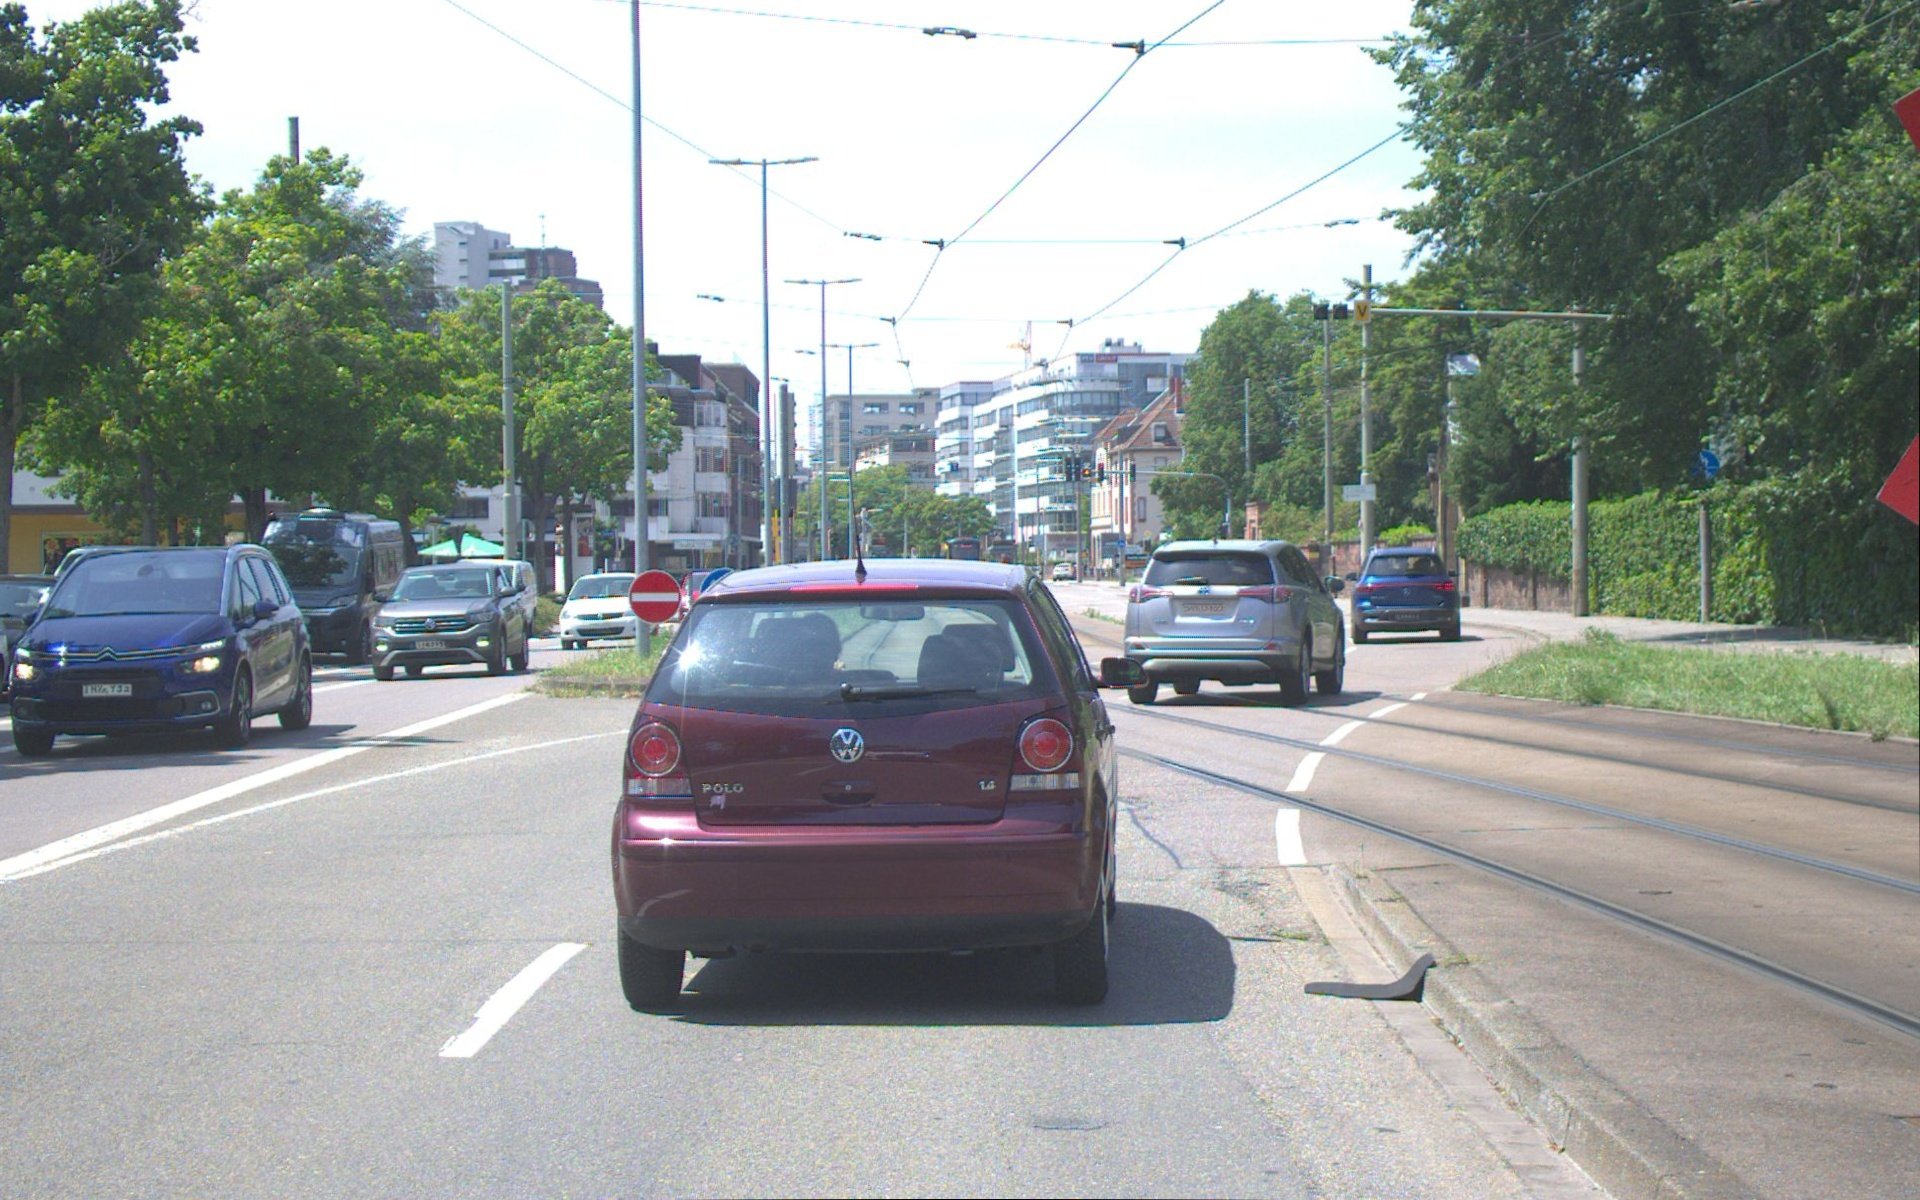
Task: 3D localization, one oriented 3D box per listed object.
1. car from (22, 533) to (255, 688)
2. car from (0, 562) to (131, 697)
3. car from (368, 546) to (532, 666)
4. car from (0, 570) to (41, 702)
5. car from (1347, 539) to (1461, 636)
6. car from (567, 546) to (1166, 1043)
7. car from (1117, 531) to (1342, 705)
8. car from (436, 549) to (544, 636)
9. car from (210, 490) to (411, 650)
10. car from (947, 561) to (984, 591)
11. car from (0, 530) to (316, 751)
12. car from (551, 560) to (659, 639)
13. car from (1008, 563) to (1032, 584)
[{"bbox_3d":[-11.205,0.112,47.233,1.862,1.930,4.805,3,1,1],"label":"car"},{"bbox_3d":[-11.378,0.320,41.627,1.614,1.479,3.784,3,1,1],"label":"car"},{"bbox_3d":[-6.990,0.051,47.411,1.737,1.570,3.713,-1,1,-1],"label":"car"},{"bbox_3d":[-11.272,0.407,36.529,1.719,1.422,4.771,0,1,0],"label":"car"},{"bbox_3d":[7.755,-0.237,60.309,1.774,1.625,3.999,1,1,5],"label":"car"},{"bbox_3d":[-0.176,0.581,12.544,1.610,1.493,3.999,-2,0,6],"label":"car"},{"bbox_3d":[2.843,0.150,35.539,1.796,1.677,3.998,1,1,12],"label":"car"},{"bbox_3d":[-11.389,-0.206,83.571,1.875,1.959,5.165,3,1,-1],"label":"car"},{"bbox_3d":[-11.383,-0.542,60.742,2.398,2.647,6.173,-1,1,-1],"label":"car"},{"bbox_3d":[0.354,-1.548,224.841,1.918,1.904,4.572,-1,1,-5],"label":"car"},{"bbox_3d":[-6.593,0.289,28.563,1.737,1.651,4.067,-2,1,-1],"label":"car"},{"bbox_3d":[-6.710,-0.016,65.273,1.648,1.372,3.811,-3,0,-1],"label":"car"},{"bbox_3d":[3.579,-1.576,204.787,1.354,1.248,2.972,0,1,0],"label":"car"}]
